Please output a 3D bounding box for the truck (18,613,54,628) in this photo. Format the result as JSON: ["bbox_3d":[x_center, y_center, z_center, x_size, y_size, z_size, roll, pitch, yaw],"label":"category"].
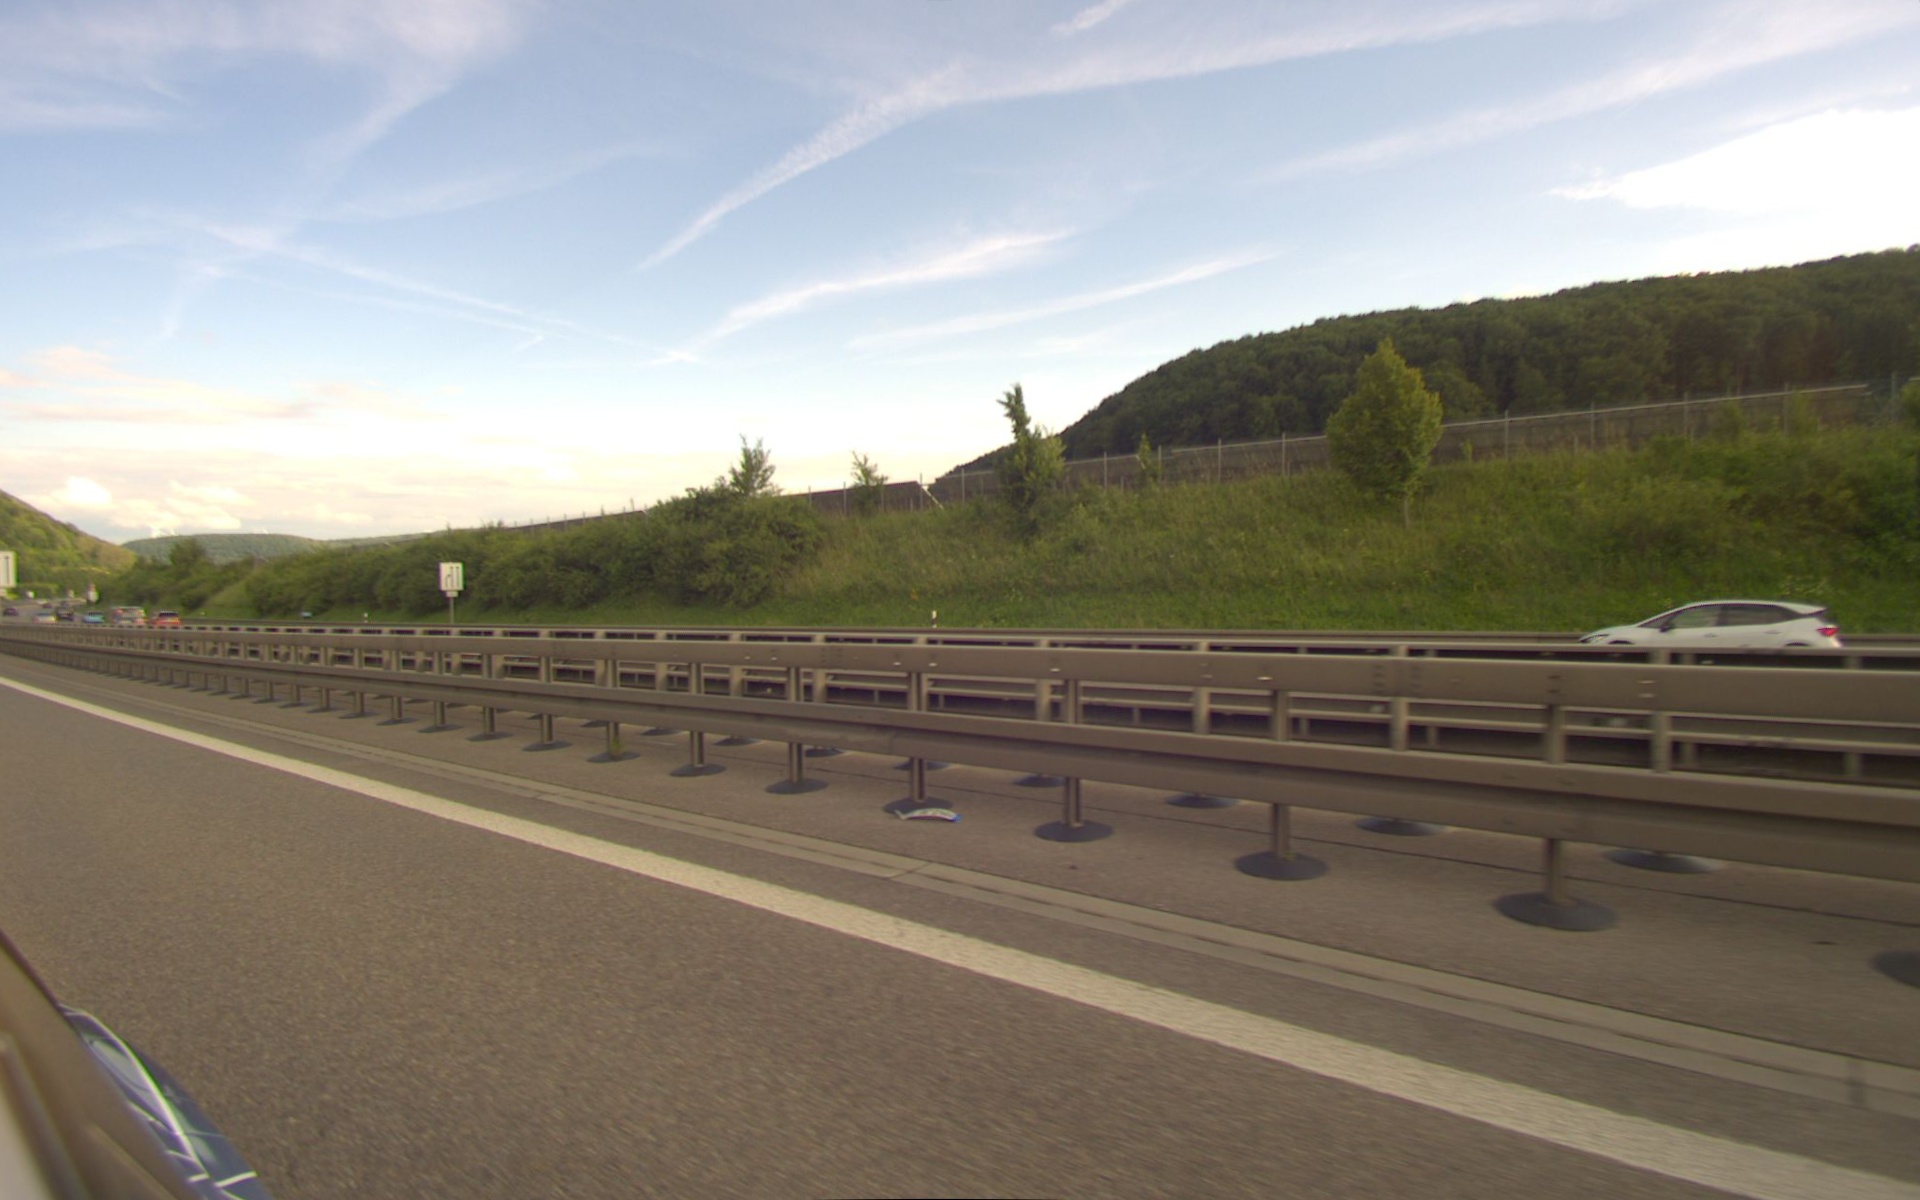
[{"bbox_3d":[-82.797,1.850,90.711,3.999,1.231,1.972,-1,-2,42],"label":"truck"}]

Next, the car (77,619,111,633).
[{"bbox_3d":[-86.441,2.588,101.019,4.353,1.364,1.973,-1,-2,41],"label":"car"}]

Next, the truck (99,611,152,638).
[{"bbox_3d":[-51.394,1.517,62.290,4.848,1.606,1.971,-1,-2,44],"label":"truck"}]

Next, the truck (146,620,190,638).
[{"bbox_3d":[-60.995,2.225,77.920,3.944,1.364,1.973,-1,-2,41],"label":"truck"}]

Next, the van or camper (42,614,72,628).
[{"bbox_3d":[-111.594,2.614,125.041,5.450,1.673,1.973,-1,-2,41],"label":"van or camper"}]

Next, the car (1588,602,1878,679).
[{"bbox_3d":[14.960,0.763,19.941,4.370,1.368,1.745,-1,-1,33],"label":"car"}]
